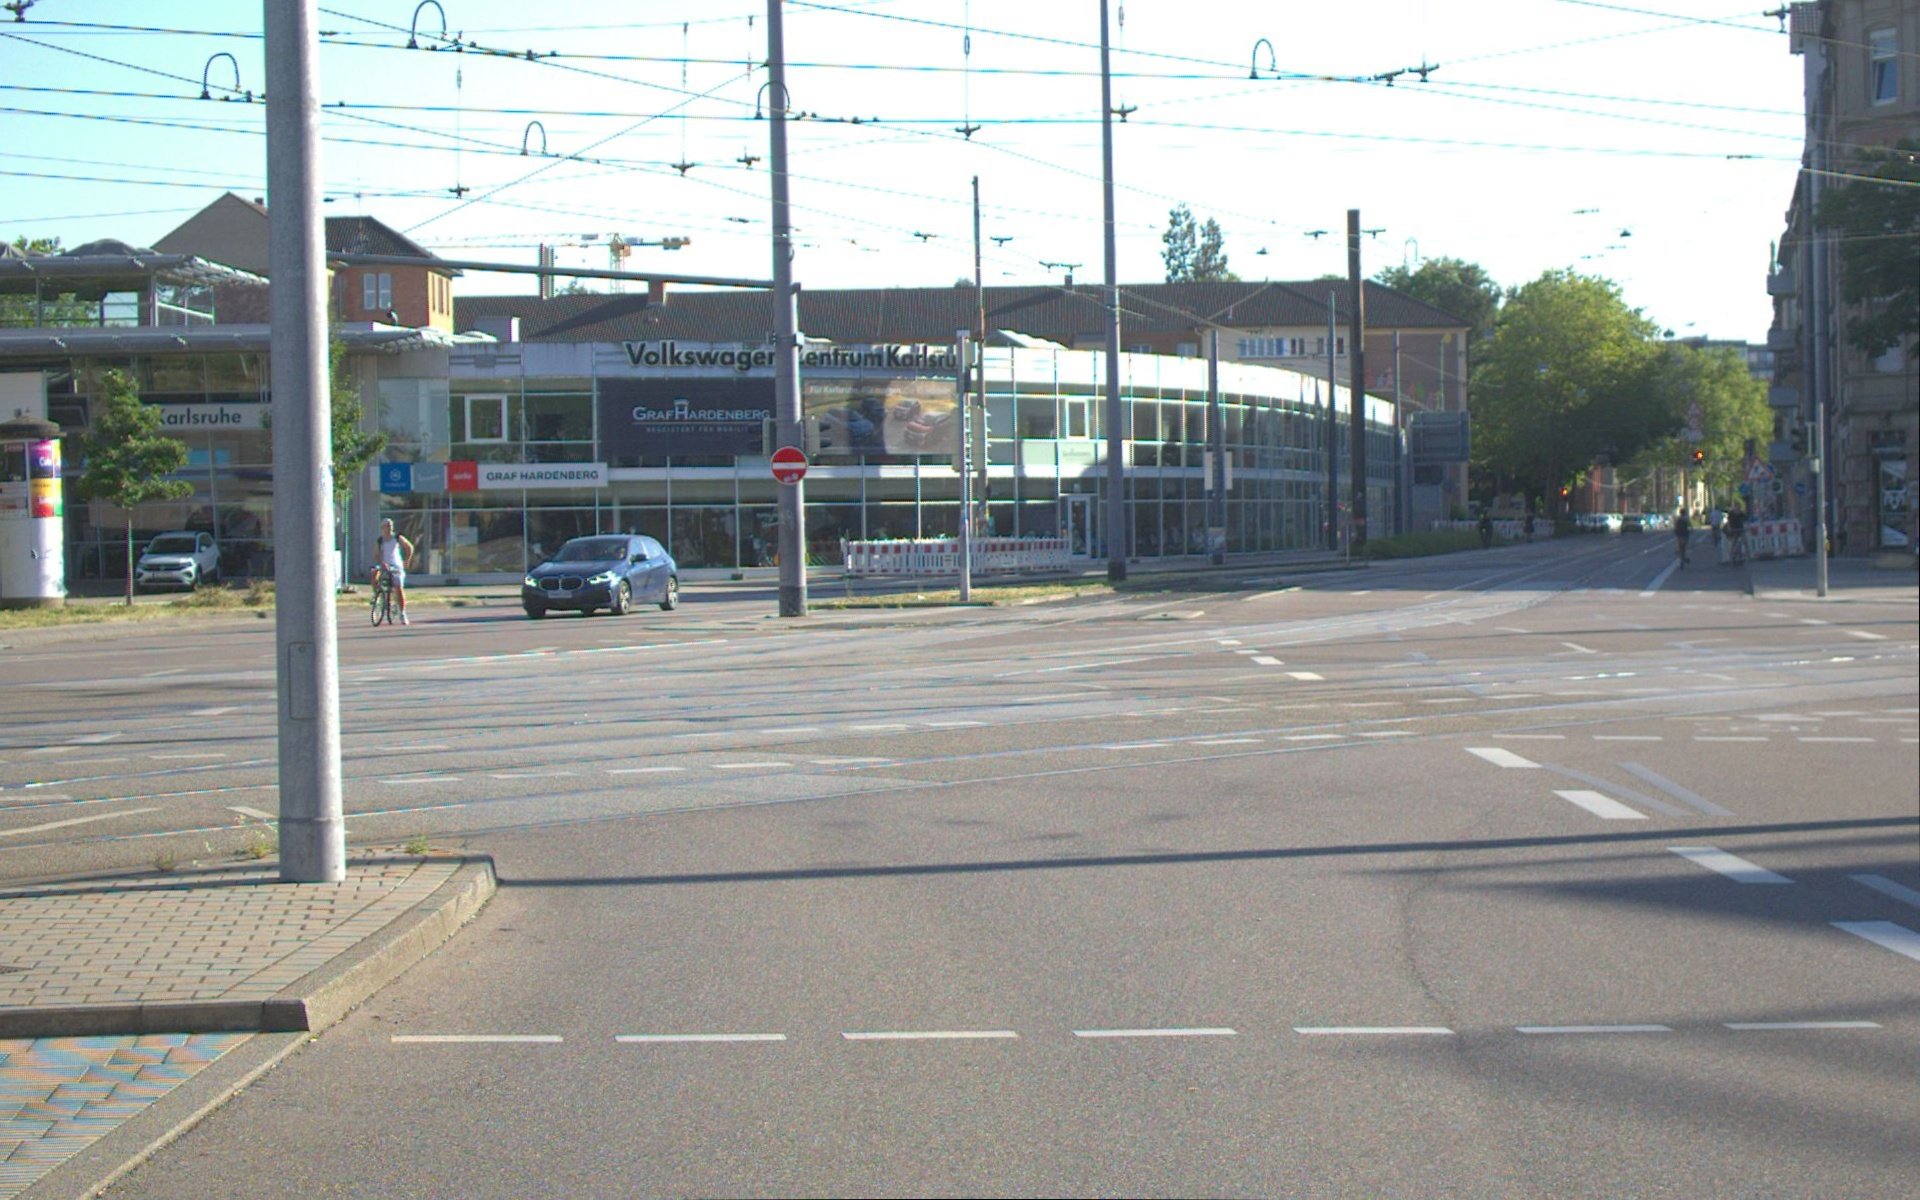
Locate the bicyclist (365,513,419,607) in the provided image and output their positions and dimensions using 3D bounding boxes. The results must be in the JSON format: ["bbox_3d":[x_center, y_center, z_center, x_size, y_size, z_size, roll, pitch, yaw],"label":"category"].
[{"bbox_3d":[-9.870,-0.695,59.751,0.598,1.610,0.822,1,0,18],"label":"bicyclist"}]

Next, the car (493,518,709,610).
[{"bbox_3d":[-6.397,-0.637,61.639,1.996,1.579,3.994,1,1,27],"label":"car"}]

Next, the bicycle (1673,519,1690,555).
[{"bbox_3d":[19.010,-1.650,90.613,0.410,0.938,1.844,1,1,12],"label":"bicycle"}]

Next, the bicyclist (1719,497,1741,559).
[{"bbox_3d":[21.020,-1.962,93.829,0.519,1.695,0.515,1,0,16],"label":"bicyclist"}]

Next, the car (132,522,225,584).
[{"bbox_3d":[-22.551,-1.347,99.318,1.993,1.744,4.001,1,1,-4],"label":"car"}]

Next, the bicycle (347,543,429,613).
[{"bbox_3d":[-9.907,-0.378,59.634,0.613,1.185,1.867,1,1,17],"label":"bicycle"}]

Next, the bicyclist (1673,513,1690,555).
[{"bbox_3d":[19.049,-1.744,90.809,0.408,1.112,0.399,1,0,11],"label":"bicyclist"}]

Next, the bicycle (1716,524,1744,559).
[{"bbox_3d":[21.001,-1.596,93.765,0.658,0.949,1.599,1,1,15],"label":"bicycle"}]
